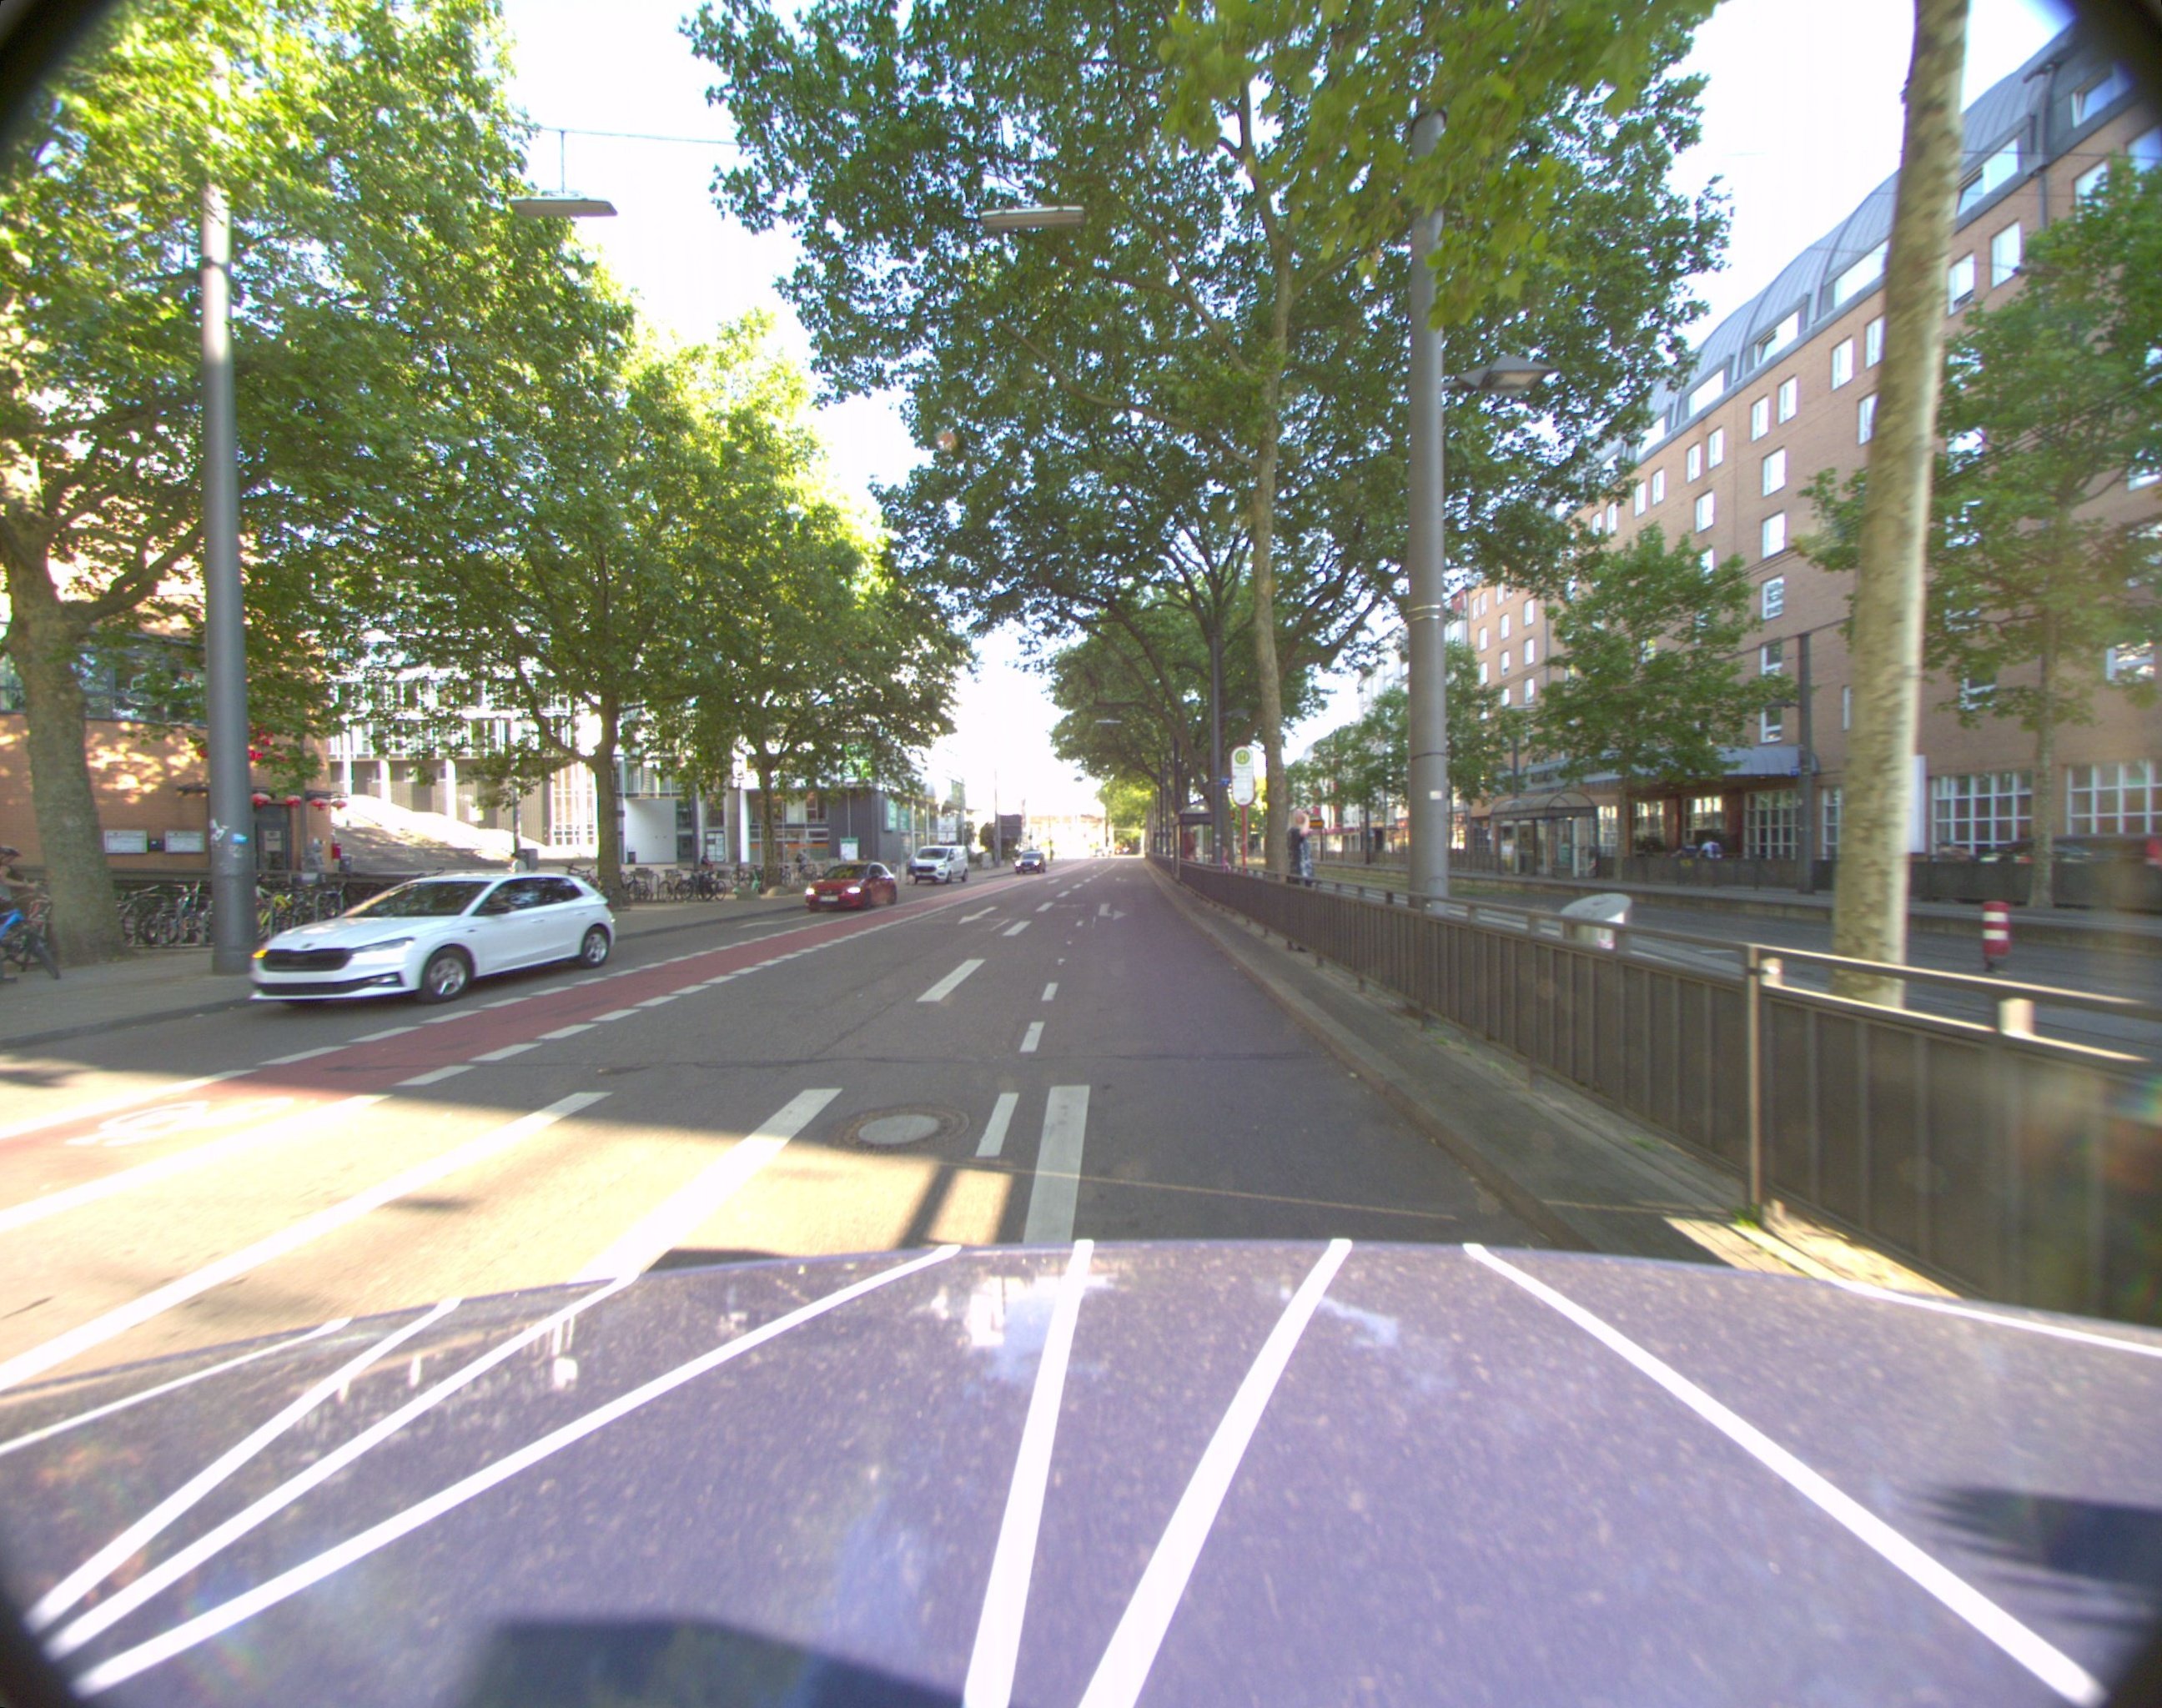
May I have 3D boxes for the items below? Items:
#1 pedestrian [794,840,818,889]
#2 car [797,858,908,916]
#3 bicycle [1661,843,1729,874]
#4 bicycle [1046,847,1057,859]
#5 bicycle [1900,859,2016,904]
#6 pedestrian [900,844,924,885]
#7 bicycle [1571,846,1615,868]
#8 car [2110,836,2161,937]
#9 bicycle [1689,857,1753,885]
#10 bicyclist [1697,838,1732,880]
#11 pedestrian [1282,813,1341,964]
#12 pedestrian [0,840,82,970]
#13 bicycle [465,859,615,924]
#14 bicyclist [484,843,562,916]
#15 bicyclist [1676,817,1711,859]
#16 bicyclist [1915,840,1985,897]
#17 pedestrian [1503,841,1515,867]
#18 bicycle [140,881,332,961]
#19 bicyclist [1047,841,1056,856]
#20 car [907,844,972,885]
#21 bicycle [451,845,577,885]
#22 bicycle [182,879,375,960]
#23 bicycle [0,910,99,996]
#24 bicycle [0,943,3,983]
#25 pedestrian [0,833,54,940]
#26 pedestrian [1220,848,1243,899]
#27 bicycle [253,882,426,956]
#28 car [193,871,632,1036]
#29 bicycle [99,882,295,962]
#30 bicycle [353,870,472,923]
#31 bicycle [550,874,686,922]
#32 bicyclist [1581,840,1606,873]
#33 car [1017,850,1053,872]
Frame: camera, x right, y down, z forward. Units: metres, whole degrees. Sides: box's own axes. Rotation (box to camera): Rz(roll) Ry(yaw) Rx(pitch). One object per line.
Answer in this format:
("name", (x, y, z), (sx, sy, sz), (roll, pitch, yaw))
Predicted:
("pedestrian", (-15.135, 0.553, 41.828), (0.981, 2.633, 0.900), (-3, 2, -31))
("car", (-6.920, 0.950, 23.507), (1.835, 1.481, 4.196), (-3, 1, 4))
("bicycle", (23.279, 0.206, 28.873), (0.687, 1.135, 2.110), (-1, -1, -6))
("bicycle", (-3.912, -0.150, 100.308), (0.950, 1.461, 2.707), (0, 1, 8))
("bicycle", (23.026, 0.693, 20.009), (0.654, 1.044, 2.011), (-2, 1, -4))
("pedestrian", (-8.572, 0.534, 38.599), (0.815, 2.002, 0.979), (-2, 0, 10))
("bicycle", (24.411, 0.127, 36.264), (0.696, 0.993, 1.900), (-1, 1, -6))
("car", (20.046, 0.568, 12.082), (1.873, 1.752, 3.998), (-2, 1, -3))
("bicycle", (24.100, 0.629, 28.662), (0.655, 0.993, 1.900), (-1, 1, -6))
("bicyclist", (23.972, 0.166, 28.743), (0.662, 1.565, 0.758), (-1, 1, -7))
("pedestrian", (2.885, 0.424, 9.530), (0.543, 1.824, 0.524), (-2, 2, 3))
("pedestrian", (-17.057, 0.781, 12.109), (0.934, 2.002, 1.091), (-1, 1, -25))
("bicycle", (-14.234, 0.942, 20.182), (0.892, 1.476, 3.228), (-1, 1, 22))
("bicyclist", (-15.849, 0.703, 21.604), (1.296, 2.002, 1.158), (-1, 2, 17))
("bicyclist", (23.275, -0.608, 28.891), (0.684, 1.550, 0.758), (-1, -1, -7))
("bicyclist", (23.004, 0.369, 20.140), (0.655, 1.466, 1.032), (-2, 2, -4))
("pedestrian", (29.623, -0.005, 52.577), (0.504, 1.725, 0.574), (-1, 1, 3))
("bicycle", (-14.829, 1.126, 13.469), (0.671, 1.155, 2.305), (-2, 1, 3))
("bicyclist", (-3.885, -0.751, 100.371), (0.958, 2.002, 0.938), (-2, 2, 6))
("car", (-7.451, 0.482, 40.761), (1.932, 1.953, 5.919), (-2, 1, 4))
("bicycle", (-16.209, 0.281, 21.721), (3.328, 1.078, 1.149), (0, 2, 18))
("bicycle", (-14.034, 1.091, 13.431), (0.751, 1.155, 2.397), (-2, 1, 2))
("bicycle", (-13.377, 1.246, 8.639), (0.925, 0.943, 2.637), (-2, 1, 1))
("bicycle", (-14.549, 1.222, 8.141), (1.050, 0.996, 3.411), (-2, 1, 1))
("pedestrian", (-22.849, 0.689, 16.167), (0.842, 2.220, 0.904), (-2, 2, 23))
("pedestrian", (4.024, 0.520, 20.236), (0.542, 1.310, 0.524), (-2, 2, 12))
("bicycle", (-13.090, 1.103, 13.543), (0.682, 1.054, 2.337), (-1, 1, 2))
("car", (-8.018, 1.060, 9.798), (1.835, 1.481, 4.195), (-2, 1, 1))
("bicycle", (-15.591, 1.147, 13.530), (0.657, 1.155, 2.292), (-2, 1, 3))
("bicycle", (-17.811, 1.085, 20.364), (0.699, 1.193, 2.700), (-2, 1, 1))
("bicycle", (-12.682, 1.173, 21.009), (0.975, 1.020, 3.208), (-2, 1, 23))
("bicyclist", (24.445, 0.110, 36.233), (0.662, 1.560, 0.758), (-1, 1, -7))
("car", (-3.536, 0.528, 58.919), (1.784, 1.481, 4.198), (-3, 1, 10))
